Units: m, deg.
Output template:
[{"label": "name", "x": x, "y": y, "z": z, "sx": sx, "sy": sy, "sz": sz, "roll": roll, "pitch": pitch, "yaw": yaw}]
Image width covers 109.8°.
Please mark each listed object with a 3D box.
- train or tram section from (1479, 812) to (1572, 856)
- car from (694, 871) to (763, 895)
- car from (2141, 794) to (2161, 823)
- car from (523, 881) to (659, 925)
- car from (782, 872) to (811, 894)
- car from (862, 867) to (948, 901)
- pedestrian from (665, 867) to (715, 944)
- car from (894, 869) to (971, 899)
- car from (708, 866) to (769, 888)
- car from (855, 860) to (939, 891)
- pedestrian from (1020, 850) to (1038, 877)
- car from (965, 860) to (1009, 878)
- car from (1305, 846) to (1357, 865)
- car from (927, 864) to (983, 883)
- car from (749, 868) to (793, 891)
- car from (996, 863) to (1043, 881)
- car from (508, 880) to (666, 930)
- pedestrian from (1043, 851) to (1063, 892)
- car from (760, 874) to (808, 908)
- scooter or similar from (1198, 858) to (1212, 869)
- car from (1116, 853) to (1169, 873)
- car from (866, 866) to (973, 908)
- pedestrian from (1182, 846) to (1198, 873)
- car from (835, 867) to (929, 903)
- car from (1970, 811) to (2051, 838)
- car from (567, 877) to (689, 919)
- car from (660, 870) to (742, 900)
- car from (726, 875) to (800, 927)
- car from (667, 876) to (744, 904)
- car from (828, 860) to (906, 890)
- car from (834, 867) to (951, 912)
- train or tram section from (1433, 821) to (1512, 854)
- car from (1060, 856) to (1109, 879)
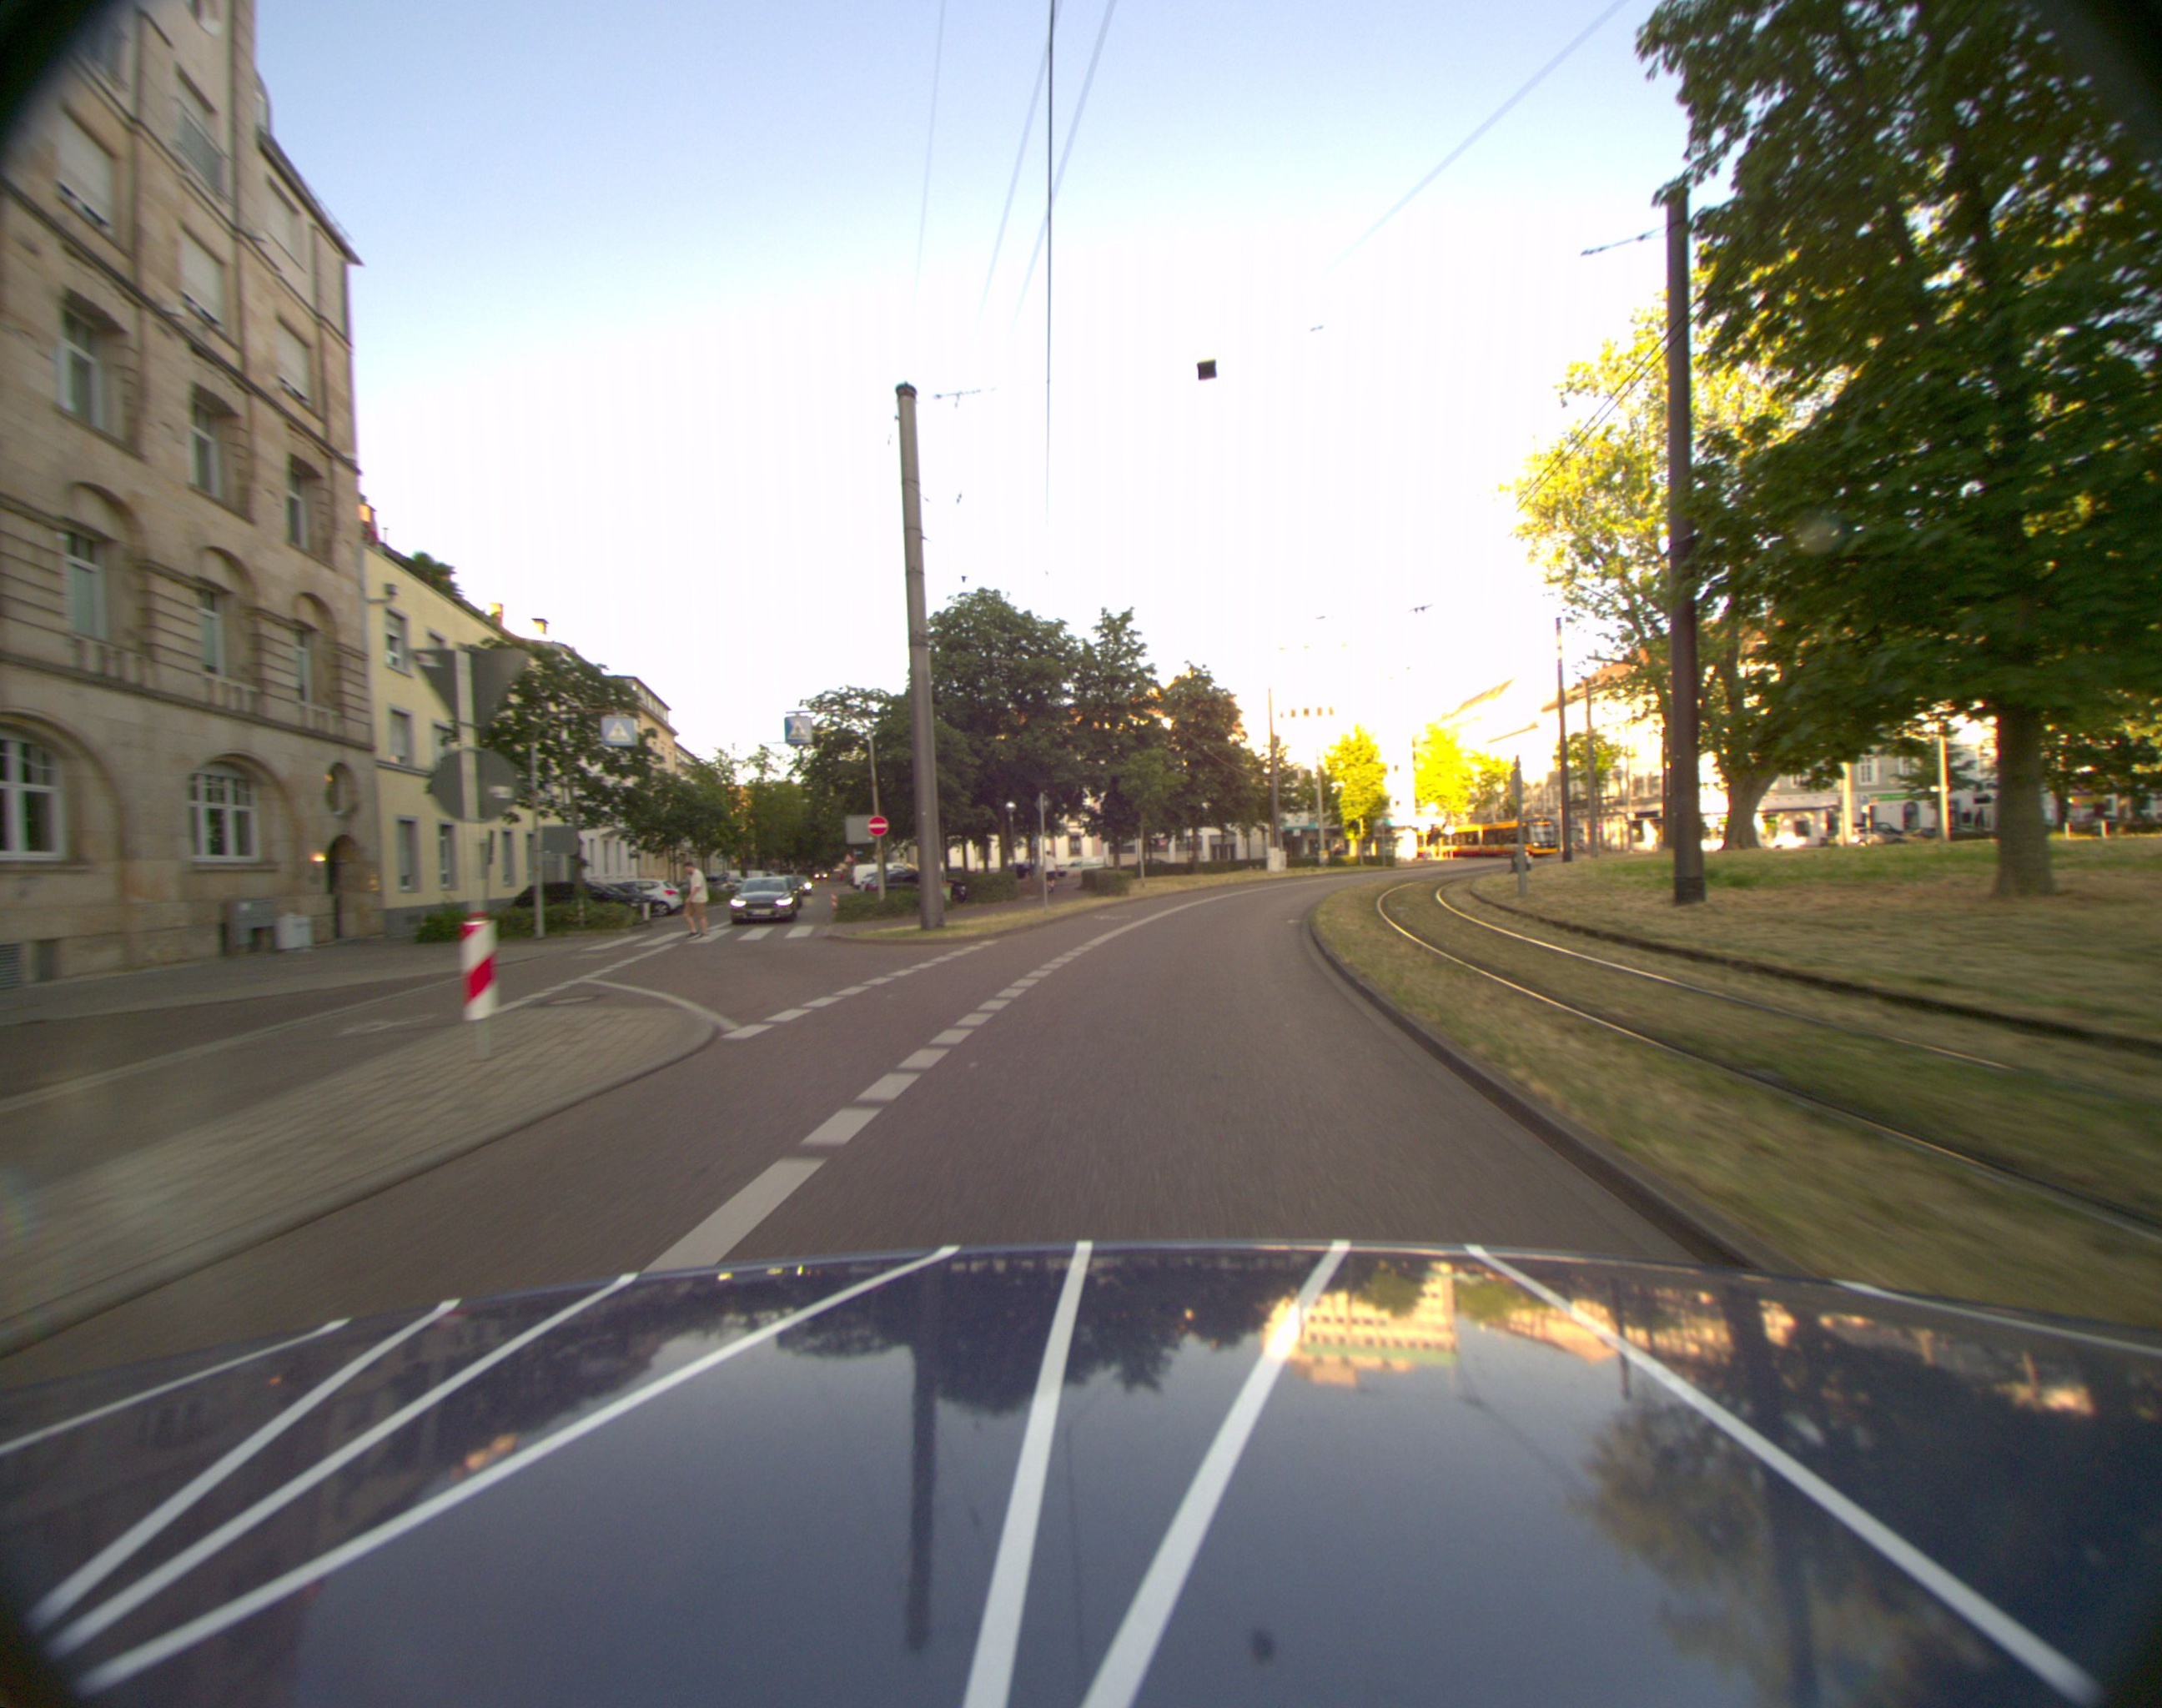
[{"label": "train or tram section", "x": 40.590, "y": -1.756, "z": 70.070, "sx": 2.945, "sy": 3.563, "sz": 13.376, "roll": -3, "pitch": 0, "yaw": 11}, {"label": "car", "x": -25.988, "y": 2.137, "z": 56.130, "sx": 4.066, "sy": 1.542, "sz": 2.000, "roll": -2, "pitch": -1, "yaw": -2}, {"label": "car", "x": 82.728, "y": -3.549, "z": 56.903, "sx": 3.997, "sy": 1.988, "sz": 1.859, "roll": -6, "pitch": 3, "yaw": 1}, {"label": "car", "x": -19.012, "y": 1.871, "z": 29.696, "sx": 4.070, "sy": 1.476, "sz": 1.835, "roll": -2, "pitch": -1, "yaw": -16}, {"label": "car", "x": -20.158, "y": 2.042, "z": 53.994, "sx": 1.822, "sy": 1.473, "sz": 4.129, "roll": -2, "pitch": -1, "yaw": -20}, {"label": "car", "x": -9.279, "y": 1.560, "z": 40.298, "sx": 4.066, "sy": 1.608, "sz": 2.000, "roll": -2, "pitch": -1, "yaw": -2}, {"label": "pedestrian", "x": -9.270, "y": 1.204, "z": 18.029, "sx": 0.591, "sy": 1.781, "sz": 0.822, "roll": -2, "pitch": -1, "yaw": 15}, {"label": "car", "x": -8.492, "y": 1.730, "z": 43.769, "sx": 4.066, "sy": 1.542, "sz": 2.000, "roll": -2, "pitch": -1, "yaw": -2}, {"label": "car", "x": -28.457, "y": 1.901, "z": 63.286, "sx": 4.402, "sy": 1.603, "sz": 1.727, "roll": -2, "pitch": -1, "yaw": -18}, {"label": "car", "x": -12.571, "y": 1.443, "z": 52.146, "sx": 5.076, "sy": 1.891, "sz": 2.123, "roll": -2, "pitch": -1, "yaw": 6}, {"label": "pedestrian", "x": -3.859, "y": 0.698, "z": 56.389, "sx": 0.827, "sy": 2.001, "sz": 1.011, "roll": -3, "pitch": -1, "yaw": 34}, {"label": "car", "x": -8.654, "y": 1.362, "z": 69.825, "sx": 3.672, "sy": 1.440, "sz": 1.702, "roll": -2, "pitch": -1, "yaw": 5}, {"label": "car", "x": 22.049, "y": 0.160, "z": 67.095, "sx": 3.996, "sy": 1.441, "sz": 1.849, "roll": -3, "pitch": -1, "yaw": 3}, {"label": "car", "x": -10.686, "y": 1.683, "z": 64.690, "sx": 4.391, "sy": 1.410, "sz": 1.728, "roll": -2, "pitch": -1, "yaw": 3}, {"label": "car", "x": -32.984, "y": 2.676, "z": 80.891, "sx": 4.071, "sy": 2.280, "sz": 1.997, "roll": -2, "pitch": -1, "yaw": -18}, {"label": "car", "x": -5.191, "y": 1.519, "z": 64.314, "sx": 3.779, "sy": 1.328, "sz": 1.728, "roll": -2, "pitch": -1, "yaw": 3}, {"label": "car", "x": -17.739, "y": 1.795, "z": 27.530, "sx": 4.401, "sy": 1.548, "sz": 1.835, "roll": -2, "pitch": -1, "yaw": -16}, {"label": "pedestrian", "x": -1.190, "y": 0.728, "z": 32.308, "sx": 0.769, "sy": 1.705, "sz": 0.786, "roll": -2, "pitch": -1, "yaw": 0}, {"label": "car", "x": -14.086, "y": 1.718, "z": 36.259, "sx": 1.822, "sy": 1.473, "sz": 4.130, "roll": -2, "pitch": -1, "yaw": -18}, {"label": "scooter or similar", "x": 11.614, "y": 0.871, "z": 71.255, "sx": 1.179, "sy": 1.026, "sz": 0.489, "roll": -3, "pitch": -1, "yaw": 24}, {"label": "car", "x": 5.081, "y": 0.739, "z": 63.496, "sx": 4.319, "sy": 1.402, "sz": 1.806, "roll": -2, "pitch": 2, "yaw": 3}, {"label": "car", "x": -6.705, "y": 1.361, "z": 31.942, "sx": 4.066, "sy": 1.547, "sz": 1.866, "roll": -2, "pitch": -1, "yaw": -2}, {"label": "pedestrian", "x": 6.579, "y": 0.319, "z": 45.939, "sx": 0.652, "sy": 1.615, "sz": 0.612, "roll": -2, "pitch": -1, "yaw": -38}, {"label": "car", "x": -9.691, "y": 1.509, "z": 37.250, "sx": 4.066, "sy": 1.542, "sz": 2.000, "roll": -2, "pitch": -1, "yaw": -2}, {"label": "car", "x": 75.294, "y": -2.370, "z": 61.589, "sx": 3.997, "sy": 1.892, "sz": 2.000, "roll": -2, "pitch": -1, "yaw": 1}, {"label": "car", "x": -19.149, "y": 1.842, "z": 32.292, "sx": 4.070, "sy": 1.560, "sz": 1.836, "roll": -2, "pitch": -1, "yaw": -15}, {"label": "car", "x": -22.713, "y": 1.841, "z": 45.589, "sx": 4.071, "sy": 1.542, "sz": 1.997, "roll": -2, "pitch": -1, "yaw": -18}, {"label": "car", "x": -10.273, "y": 1.458, "z": 24.812, "sx": 1.822, "sy": 1.473, "sz": 4.130, "roll": -2, "pitch": -1, "yaw": -18}, {"label": "car", "x": -23.590, "y": 2.256, "z": 47.886, "sx": 4.071, "sy": 1.542, "sz": 1.997, "roll": -2, "pitch": -1, "yaw": -18}, {"label": "car", "x": -15.625, "y": 1.550, "z": 55.703, "sx": 5.076, "sy": 2.010, "sz": 1.969, "roll": -2, "pitch": -1, "yaw": 6}, {"label": "car", "x": -7.254, "y": 1.347, "z": 29.616, "sx": 4.066, "sy": 1.547, "sz": 1.866, "roll": -2, "pitch": -1, "yaw": -2}, {"label": "train or tram section", "x": 42.532, "y": -1.721, "z": 83.134, "sx": 2.929, "sy": 3.123, "sz": 12.860, "roll": -3, "pitch": 0, "yaw": 5}, {"label": "car", "x": 0.315, "y": 1.124, "z": 63.952, "sx": 4.009, "sy": 1.714, "sz": 1.702, "roll": -2, "pitch": -1, "yaw": 3}]
